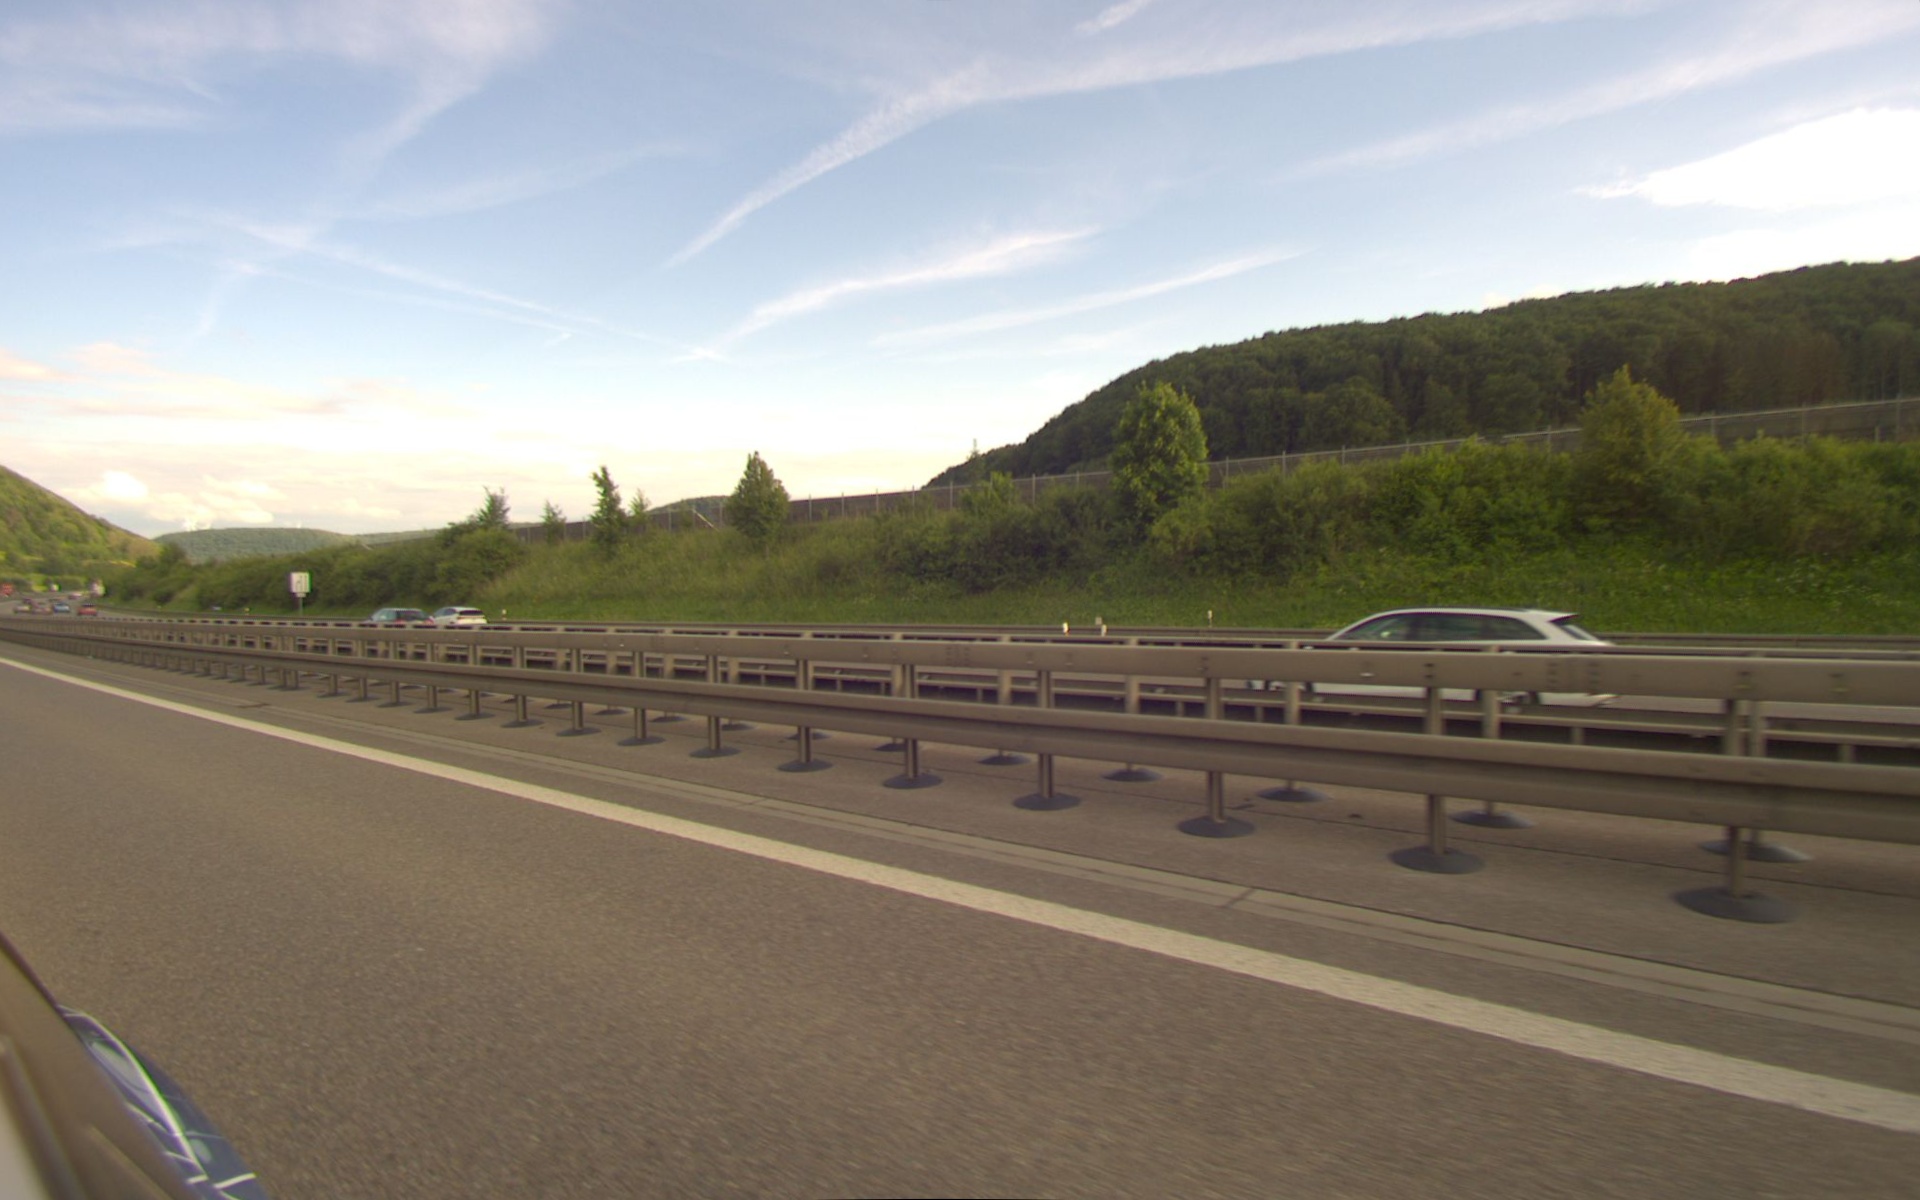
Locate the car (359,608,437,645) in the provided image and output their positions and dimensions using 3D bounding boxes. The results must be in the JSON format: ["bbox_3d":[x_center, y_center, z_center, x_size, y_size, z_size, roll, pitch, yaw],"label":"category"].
[{"bbox_3d":[-24.810,1.175,44.625,4.002,1.497,1.971,-2,-1,45],"label":"car"}]

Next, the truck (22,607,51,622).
[{"bbox_3d":[-102.140,1.581,111.895,4.847,1.606,1.971,-1,-2,44],"label":"truck"}]

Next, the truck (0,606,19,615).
[{"bbox_3d":[-131.393,1.461,139.787,1.970,1.231,4.004,2,-2,-43],"label":"truck"}]

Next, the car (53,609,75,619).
[{"bbox_3d":[-130.599,2.022,147.491,4.355,1.363,1.972,0,0,43],"label":"car"}]

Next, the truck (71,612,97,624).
[{"bbox_3d":[-106.521,2.176,123.075,3.946,1.364,1.972,-1,-2,42],"label":"truck"}]

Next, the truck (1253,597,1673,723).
[{"bbox_3d":[6.453,0.679,13.269,4.640,1.375,1.974,-1,-1,39],"label":"truck"}]

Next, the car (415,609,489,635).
[{"bbox_3d":[-27.975,1.205,55.706,4.372,1.368,1.744,-1,-1,35],"label":"car"}]
